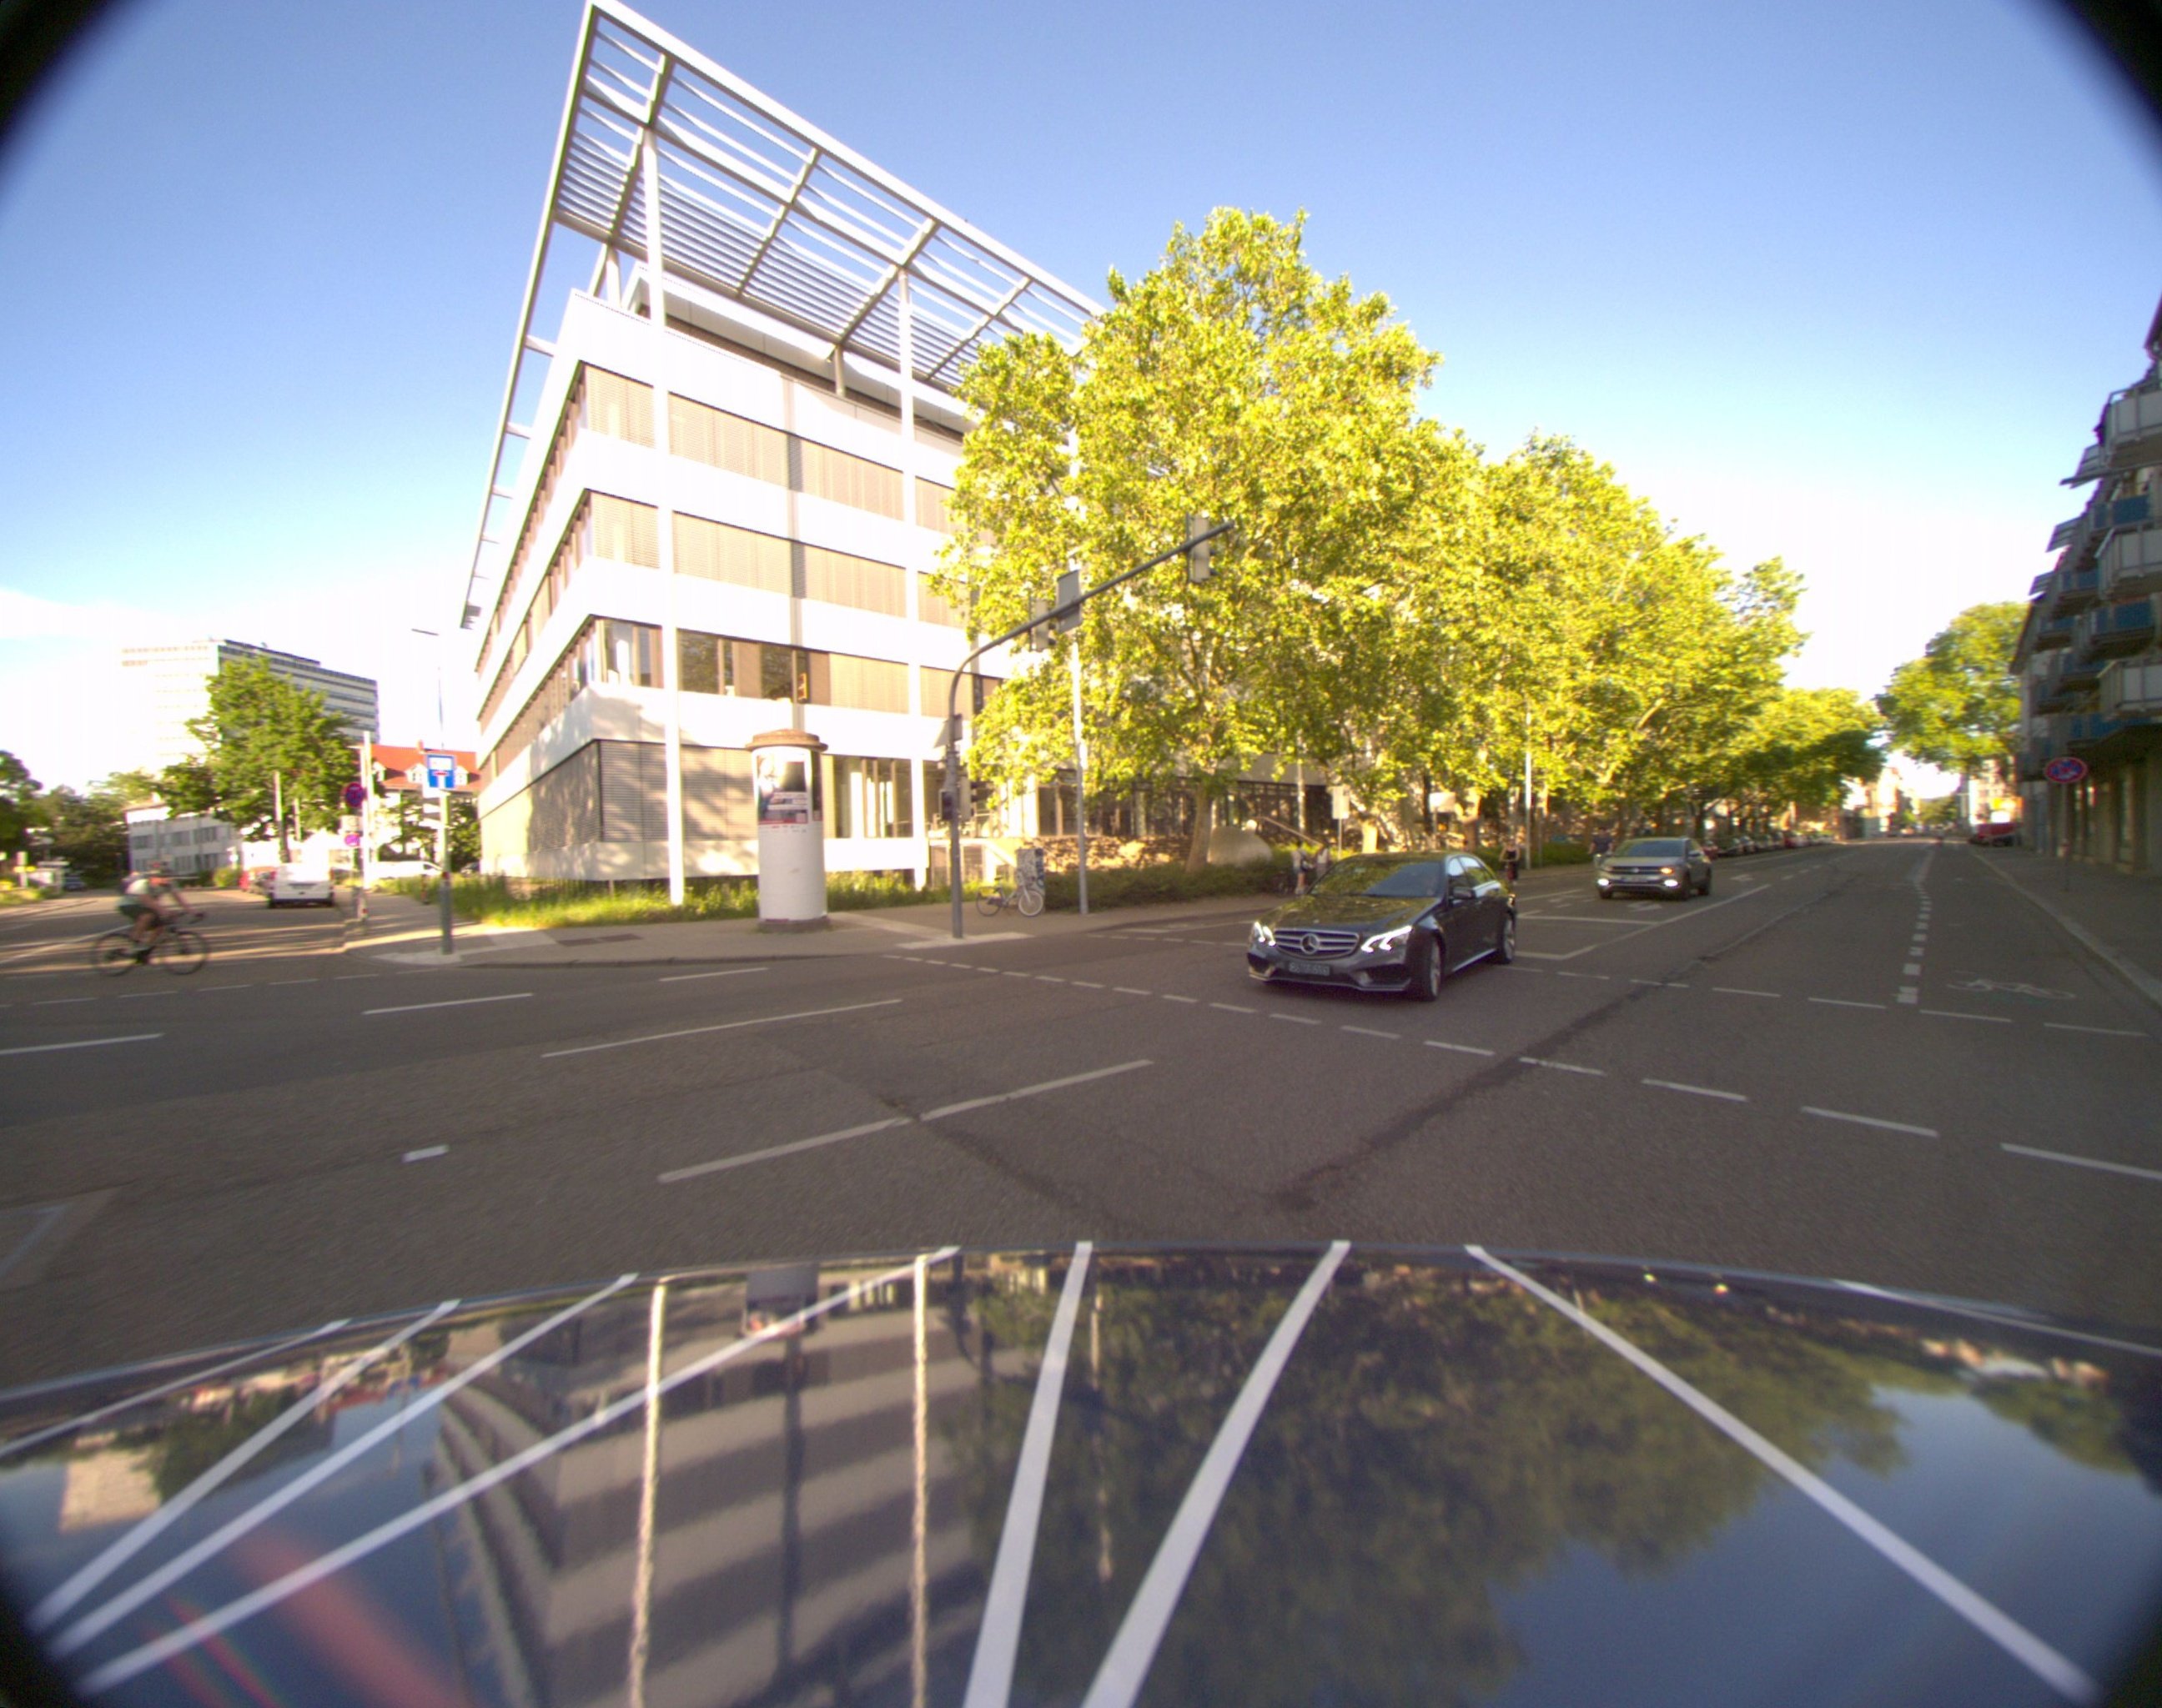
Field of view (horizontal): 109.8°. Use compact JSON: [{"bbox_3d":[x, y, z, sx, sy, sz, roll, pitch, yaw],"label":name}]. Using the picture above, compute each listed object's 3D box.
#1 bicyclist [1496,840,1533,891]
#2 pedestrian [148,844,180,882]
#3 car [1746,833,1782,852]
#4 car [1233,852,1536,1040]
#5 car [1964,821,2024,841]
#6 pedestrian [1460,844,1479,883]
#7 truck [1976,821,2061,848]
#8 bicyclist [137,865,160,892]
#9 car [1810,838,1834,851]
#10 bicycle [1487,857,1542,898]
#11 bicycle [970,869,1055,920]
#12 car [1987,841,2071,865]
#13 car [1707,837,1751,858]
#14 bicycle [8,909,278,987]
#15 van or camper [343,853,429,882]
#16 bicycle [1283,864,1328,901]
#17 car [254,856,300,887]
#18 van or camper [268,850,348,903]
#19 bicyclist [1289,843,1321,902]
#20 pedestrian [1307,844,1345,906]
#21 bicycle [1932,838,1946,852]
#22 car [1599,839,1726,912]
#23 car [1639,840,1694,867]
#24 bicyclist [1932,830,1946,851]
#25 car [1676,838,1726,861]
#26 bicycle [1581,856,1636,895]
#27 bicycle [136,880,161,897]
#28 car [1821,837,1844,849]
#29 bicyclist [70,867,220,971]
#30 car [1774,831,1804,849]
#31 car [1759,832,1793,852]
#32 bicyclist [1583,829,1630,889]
[{"bbox_3d":[14.589,0.379,25.577,0.897,1.670,0.769,-3,0,-43],"label":"bicyclist"},{"bbox_3d":[-81.180,0.818,67.288,1.403,3.290,1.462,-1,2,29],"label":"pedestrian"},{"bbox_3d":[61.556,-1.031,68.471,4.084,1.642,1.894,-2,1,-41],"label":"car"},{"bbox_3d":[3.822,0.804,8.977,1.795,1.460,4.728,0,2,42],"label":"car"},{"bbox_3d":[97.245,-2.480,81.004,2.004,2.002,3.989,-3,1,-43],"label":"car"},{"bbox_3d":[16.143,0.393,31.559,0.684,1.585,0.461,-3,2,-43],"label":"pedestrian"},{"bbox_3d":[78.590,-1.638,63.802,1.881,2.146,4.394,-3,1,-43],"label":"truck"},{"bbox_3d":[-56.936,1.481,46.381,0.899,1.583,0.763,0,2,43],"label":"bicyclist"},{"bbox_3d":[93.416,-1.170,95.786,4.084,1.542,1.894,-2,1,-41],"label":"car"},{"bbox_3d":[14.620,0.764,25.587,2.820,1.129,0.769,-5,0,-43],"label":"bicycle"},{"bbox_3d":[-1.645,0.960,18.293,1.989,1.176,0.471,-1,2,19],"label":"bicycle"},{"bbox_3d":[74.874,-0.078,60.091,1.834,1.825,3.989,-3,1,-43],"label":"car"},{"bbox_3d":[48.488,-0.494,56.813,4.084,1.443,1.894,-2,1,-41],"label":"car"},{"bbox_3d":[-14.678,1.447,11.996,2.660,1.046,0.981,0,1,-11],"label":"bicycle"},{"bbox_3d":[-55.791,1.040,61.049,1.994,2.075,4.741,-1,1,36],"label":"van or camper"},{"bbox_3d":[6.803,0.837,23.017,1.650,1.029,0.521,-3,2,-43],"label":"bicycle"},{"bbox_3d":[-55.885,1.224,52.887,2.004,2.002,3.989,-3,0,-45],"label":"car"},{"bbox_3d":[-32.507,0.883,32.074,2.167,2.002,4.962,-2,1,-44],"label":"van or camper"},{"bbox_3d":[6.673,0.539,22.673,0.656,1.704,0.633,-5,4,-43],"label":"bicyclist"},{"bbox_3d":[7.108,0.594,22.050,0.693,1.710,0.774,-5,4,-43],"label":"pedestrian"},{"bbox_3d":[67.761,-0.741,60.032,2.636,0.981,0.690,-5,3,-43],"label":"bicycle"},{"bbox_3d":[14.677,0.465,19.117,4.007,1.594,1.743,-2,1,-41],"label":"car"},{"bbox_3d":[33.785,-0.028,43.786,4.085,1.435,1.894,-2,1,-43],"label":"car"},{"bbox_3d":[67.693,-1.072,59.970,0.760,1.622,0.690,-5,4,-43],"label":"bicyclist"},{"bbox_3d":[41.381,-0.290,50.651,4.084,1.443,1.894,-2,1,-41],"label":"car"},{"bbox_3d":[16.128,0.654,23.194,2.821,1.129,0.769,0,-2,-43],"label":"bicycle"},{"bbox_3d":[-56.885,2.088,46.362,3.049,0.944,0.763,-1,1,43],"label":"bicycle"},{"bbox_3d":[101.159,-1.488,102.229,4.084,1.542,1.894,-2,1,-41],"label":"car"},{"bbox_3d":[-14.697,0.995,11.977,1.126,1.537,0.952,0,1,-10],"label":"bicyclist"},{"bbox_3d":[73.461,-1.475,78.819,4.084,1.808,1.894,-2,1,-41],"label":"car"},{"bbox_3d":[65.312,-1.158,71.417,4.084,1.841,1.894,-2,1,-41],"label":"car"},{"bbox_3d":[16.109,0.151,23.308,0.902,1.721,0.769,-3,-6,-43],"label":"bicyclist"}]
